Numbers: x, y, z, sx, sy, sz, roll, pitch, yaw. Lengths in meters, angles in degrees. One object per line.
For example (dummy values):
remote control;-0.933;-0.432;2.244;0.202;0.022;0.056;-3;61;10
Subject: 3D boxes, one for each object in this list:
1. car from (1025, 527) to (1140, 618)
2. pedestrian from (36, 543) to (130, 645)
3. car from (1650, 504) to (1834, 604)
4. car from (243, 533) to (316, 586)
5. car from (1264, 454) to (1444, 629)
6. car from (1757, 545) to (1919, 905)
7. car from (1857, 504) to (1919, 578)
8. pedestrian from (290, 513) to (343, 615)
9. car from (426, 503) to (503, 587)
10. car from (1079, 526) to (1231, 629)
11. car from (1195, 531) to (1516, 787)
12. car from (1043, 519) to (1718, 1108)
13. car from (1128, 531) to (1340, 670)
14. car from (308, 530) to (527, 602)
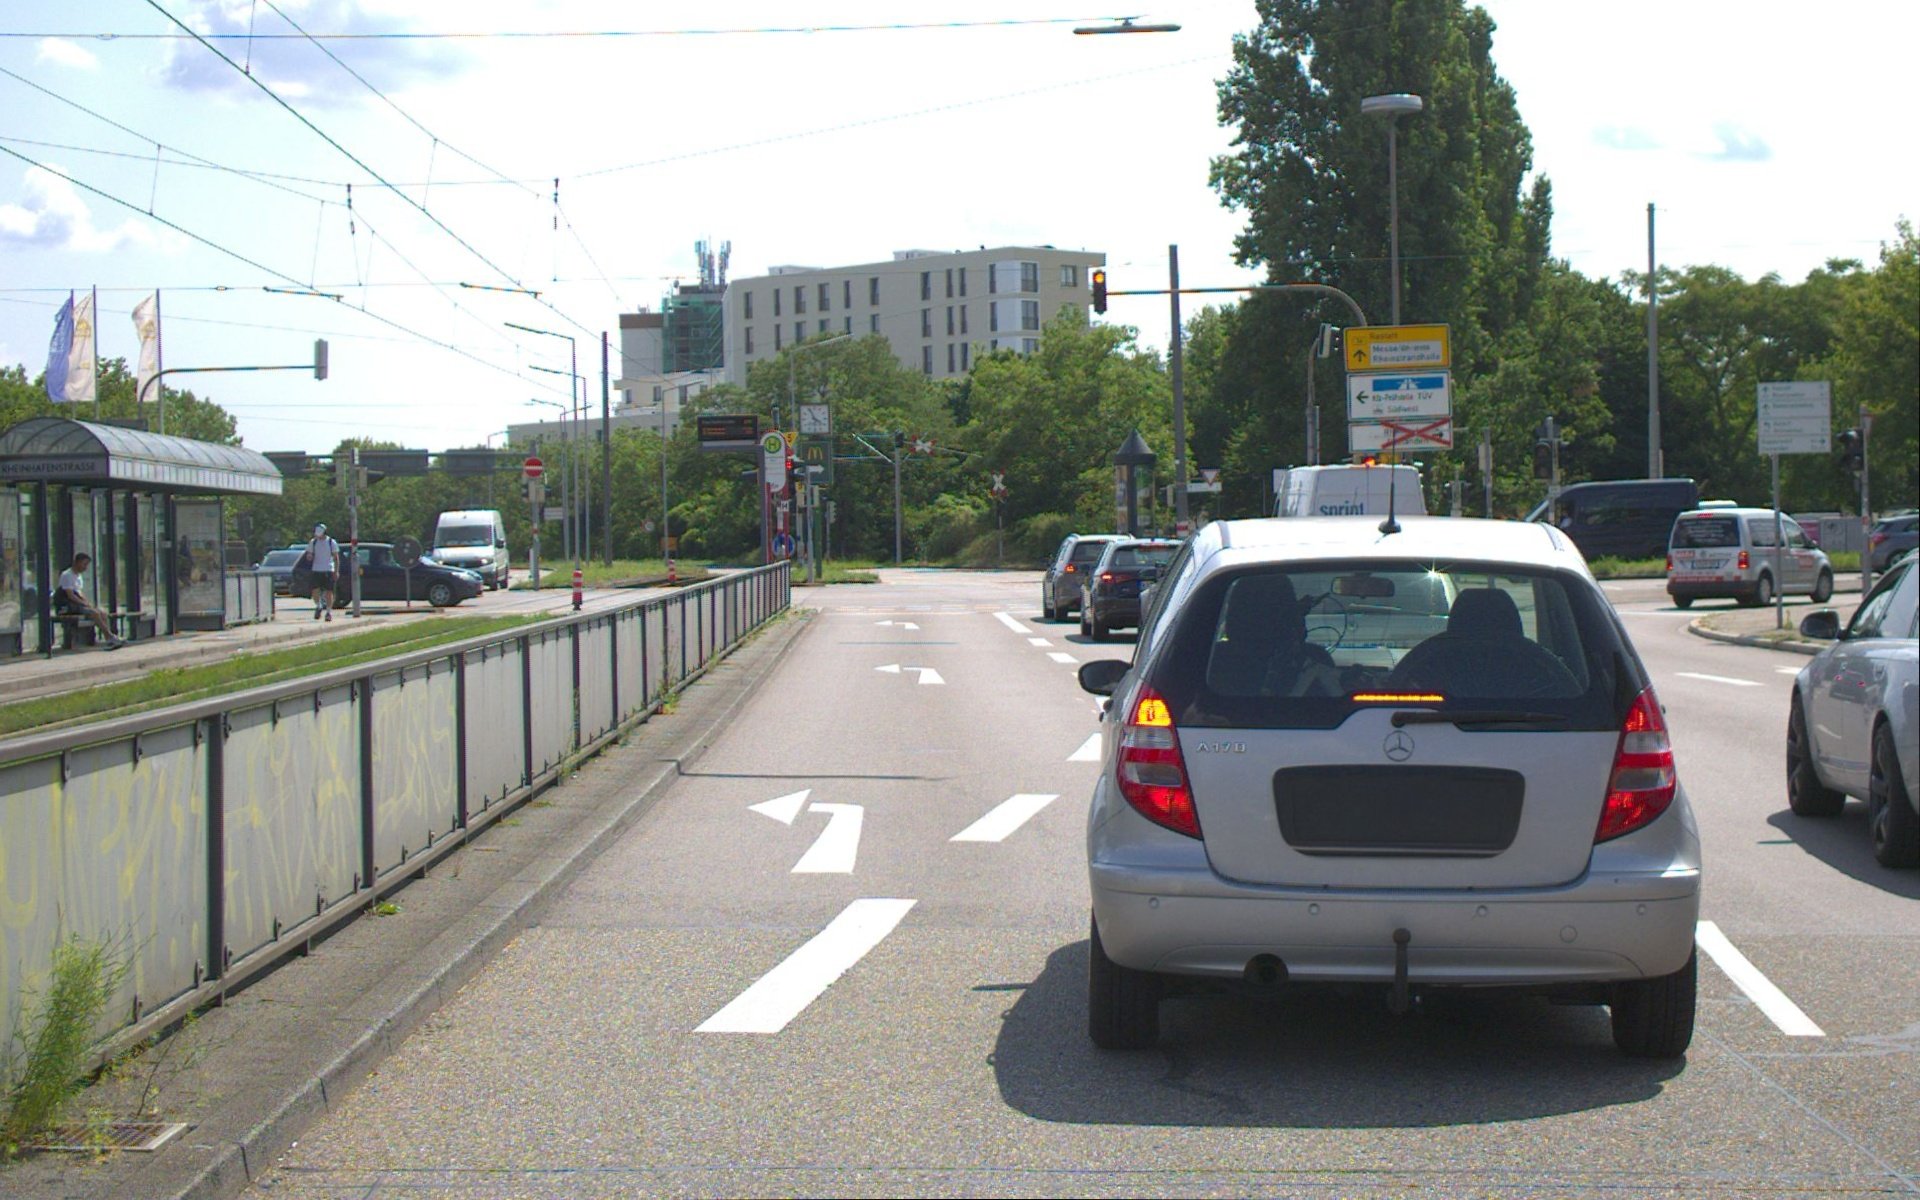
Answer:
car;2.062;-0.503;58.884;1.744;1.494;4.380;0;1;-1
pedestrian;-11.880;-0.087;46.590;1.058;1.371;0.860;0;1;-1
car;14.488;-0.848;63.583;1.889;1.725;4.086;-2;0;35
car;-21.701;-1.289;109.809;1.862;1.645;4.001;0;1;-5
car;6.050;-0.923;53.369;2.041;2.549;5.232;-1;1;-1
car;5.131;0.491;16.669;1.855;1.487;4.535;0;1;5
car;23.106;-1.335;78.313;4.863;1.654;2.000;0;1;2
pedestrian;-11.508;-0.646;61.486;0.807;1.789;0.709;-1;1;-3
car;-15.728;-1.755;109.278;1.993;2.597;4.879;0;1;-3
car;2.747;-0.357;49.317;1.869;1.415;4.100;0;1;-1
car;2.471;0.300;22.426;1.739;1.487;4.629;0;1;2
car;1.337;0.531;11.290;1.787;1.571;4.094;-1;1;6
car;2.977;-0.042;38.293;1.887;1.443;4.828;0;1;-1
car;-12.618;-0.795;80.181;4.675;1.543;2.000;-1;1;4
